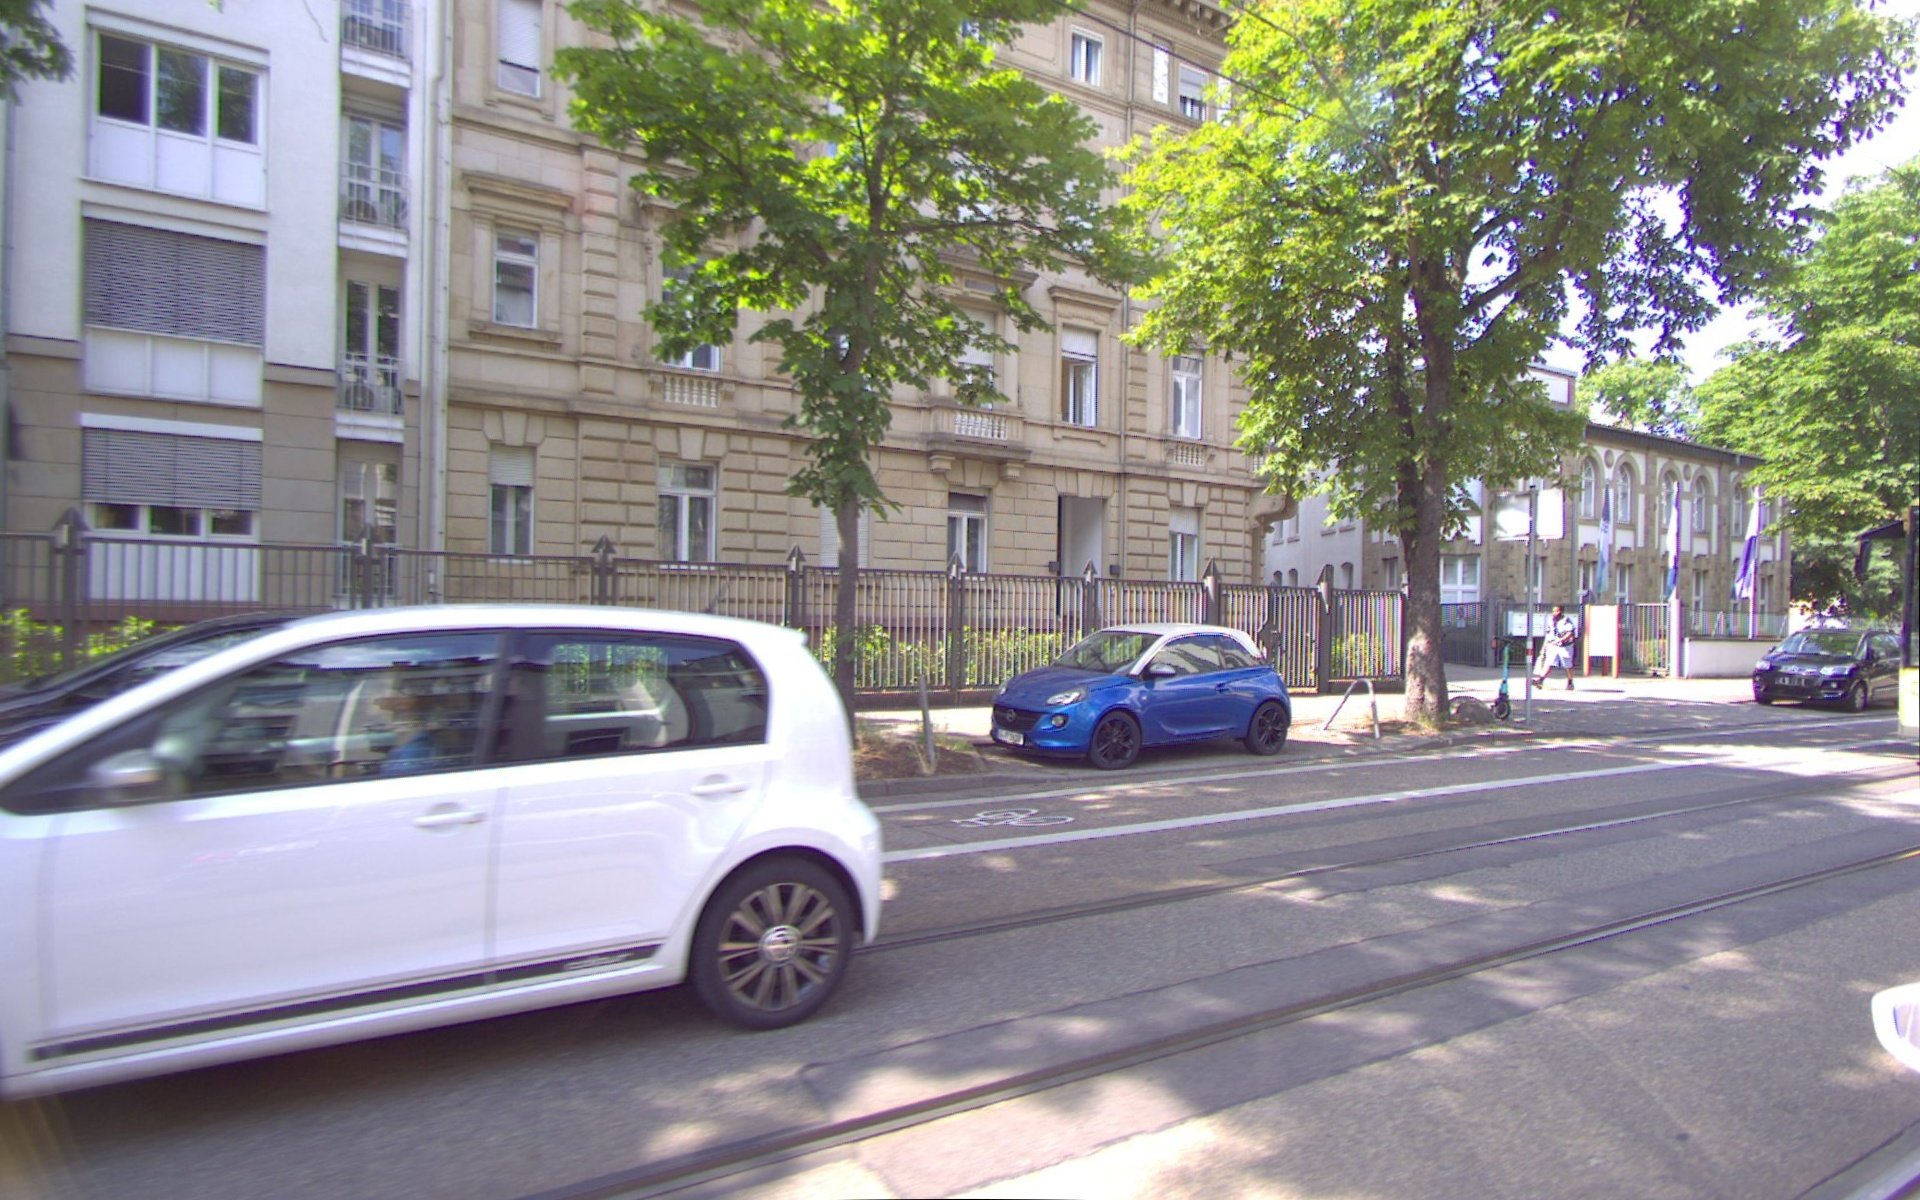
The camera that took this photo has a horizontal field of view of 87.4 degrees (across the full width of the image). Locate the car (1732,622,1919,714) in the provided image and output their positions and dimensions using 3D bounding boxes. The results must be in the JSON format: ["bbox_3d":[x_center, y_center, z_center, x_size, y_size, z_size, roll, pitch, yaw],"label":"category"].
[{"bbox_3d":[18.199,1.386,20.983,4.282,1.663,1.797,2,1,-31],"label":"car"}]

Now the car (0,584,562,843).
[{"bbox_3d":[-5.163,0.680,7.166,4.153,1.492,1.619,1,2,-29],"label":"car"}]

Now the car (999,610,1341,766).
[{"bbox_3d":[2.503,0.960,11.768,3.765,1.504,1.646,2,1,-31],"label":"car"}]

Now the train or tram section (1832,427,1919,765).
[{"bbox_3d":[15.440,0.137,12.871,12.170,3.481,2.641,2,-3,-30],"label":"train or tram section"}]

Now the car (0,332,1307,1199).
[{"bbox_3d":[-1.772,0.718,3.705,6.292,2.541,2.304,2,-1,-32],"label":"car"}]

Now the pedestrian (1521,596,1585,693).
[{"bbox_3d":[12.876,0.956,21.808,0.816,2.040,0.820,2,1,-30],"label":"pedestrian"}]
